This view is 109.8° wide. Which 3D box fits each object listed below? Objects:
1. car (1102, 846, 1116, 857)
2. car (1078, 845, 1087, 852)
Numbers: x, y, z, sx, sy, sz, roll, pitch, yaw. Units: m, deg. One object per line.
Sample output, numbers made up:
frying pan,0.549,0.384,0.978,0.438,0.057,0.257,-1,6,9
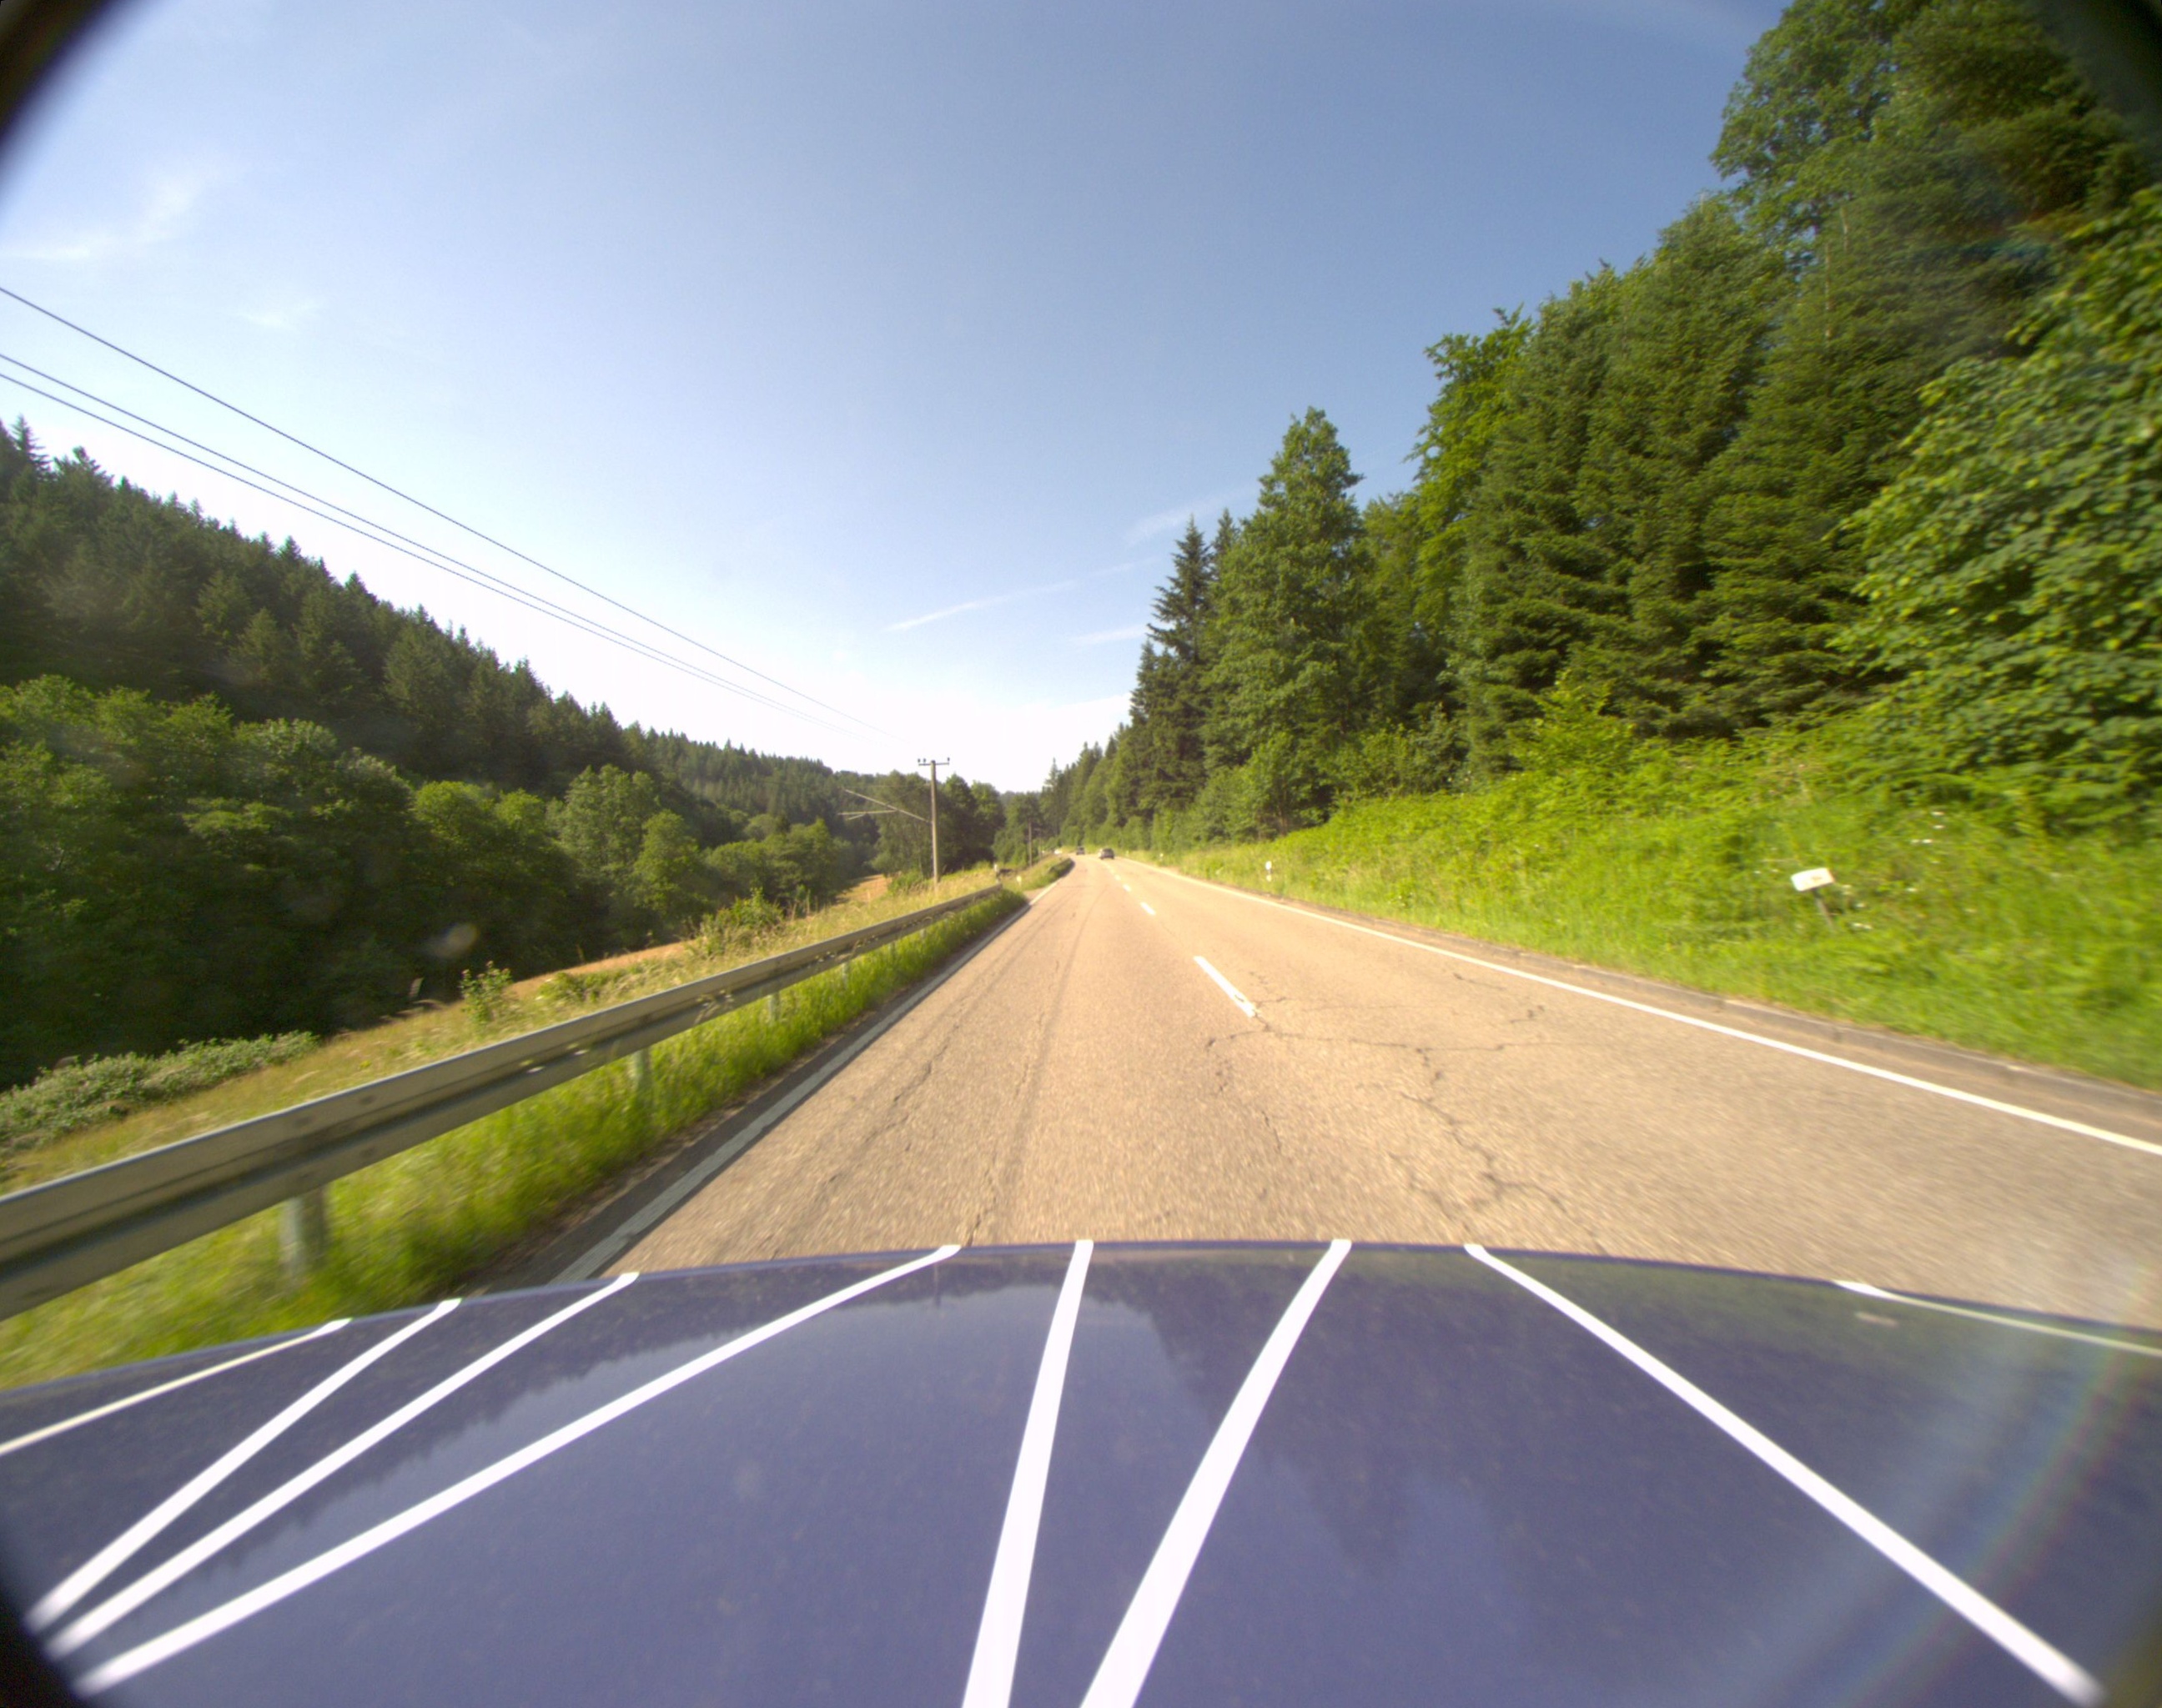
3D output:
car,4.011,-0.366,109.171,1.840,1.572,4.875,-1,1,1
car,0.310,-1.248,181.912,1.968,1.568,4.535,-1,1,-1
